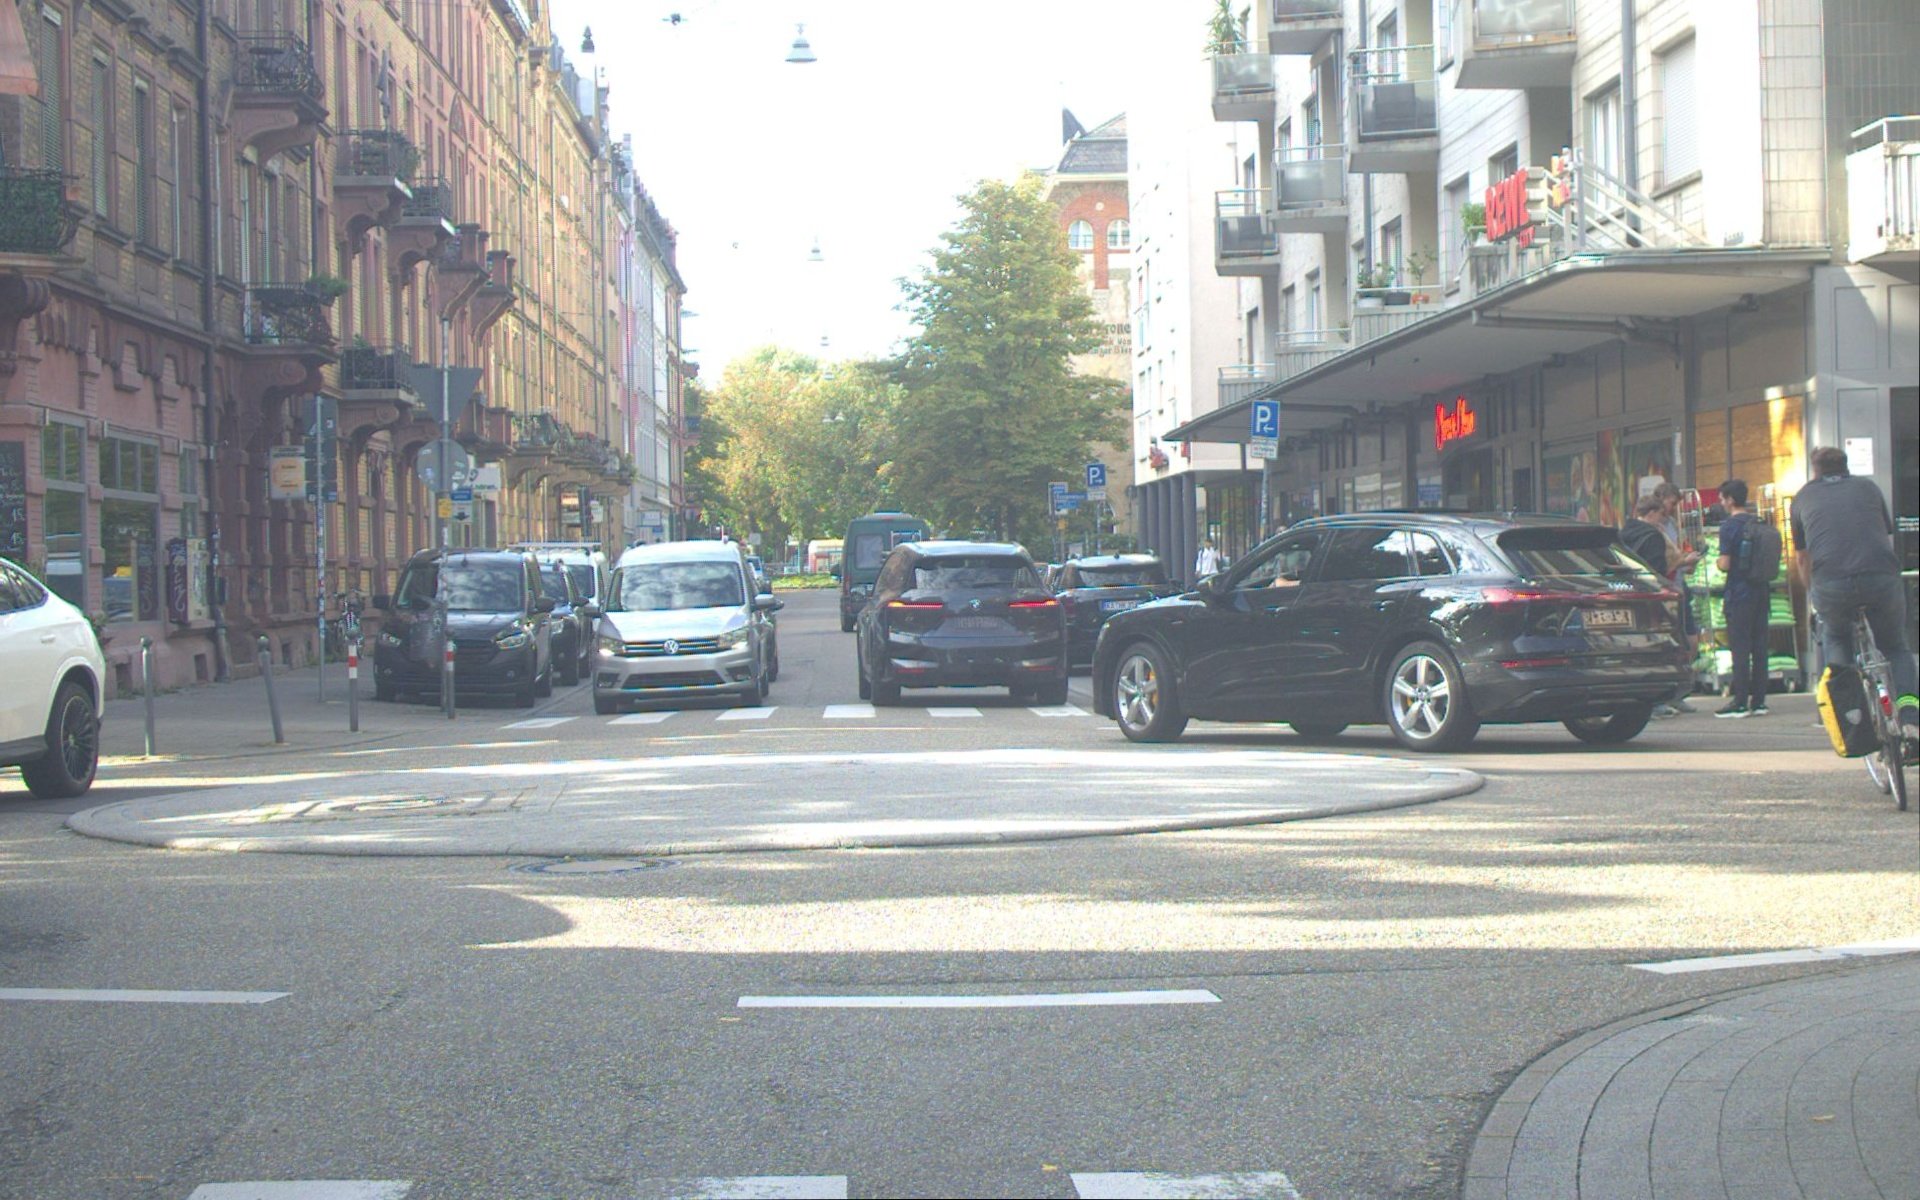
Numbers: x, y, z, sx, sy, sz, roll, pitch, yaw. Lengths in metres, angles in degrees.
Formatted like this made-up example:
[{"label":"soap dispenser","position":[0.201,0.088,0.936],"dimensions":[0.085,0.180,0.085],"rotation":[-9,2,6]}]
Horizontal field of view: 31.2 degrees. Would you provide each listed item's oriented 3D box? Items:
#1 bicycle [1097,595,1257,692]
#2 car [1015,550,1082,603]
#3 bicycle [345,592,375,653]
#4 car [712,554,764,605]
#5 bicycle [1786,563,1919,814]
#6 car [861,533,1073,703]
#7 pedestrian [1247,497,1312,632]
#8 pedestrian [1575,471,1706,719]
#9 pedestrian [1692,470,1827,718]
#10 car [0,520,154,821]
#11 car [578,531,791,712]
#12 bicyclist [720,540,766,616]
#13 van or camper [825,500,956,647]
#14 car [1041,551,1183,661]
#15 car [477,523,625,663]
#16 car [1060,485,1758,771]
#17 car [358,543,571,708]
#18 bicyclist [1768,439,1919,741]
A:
[{"label":"bicycle","position":[2.453,0.479,38.748],"dimensions":[1.785,1.023,0.681],"rotation":[-2,1,-39]},{"label":"car","position":[2.417,-0.650,94.620],"dimensions":[1.645,1.320,3.576],"rotation":[-4,1,0]},{"label":"bicycle","position":[-9.688,0.350,55.506],"dimensions":[0.360,0.944,1.716],"rotation":[0,1,-6]},{"label":"car","position":[-9.099,-0.869,141.138],"dimensions":[1.993,2.007,4.000],"rotation":[-1,1,-2]},{"label":"bicycle","position":[4.579,0.400,17.368],"dimensions":[0.666,1.174,2.495],"rotation":[0,1,16]},{"label":"car","position":[0.010,0.145,35.343],"dimensions":[1.993,1.612,4.000],"rotation":[-1,1,-2]},{"label":"pedestrian","position":[4.502,-0.501,48.373],"dimensions":[0.731,1.858,1.062],"rotation":[-1,1,13]},{"label":"pedestrian","position":[5.166,-0.042,26.133],"dimensions":[0.869,1.845,0.612],"rotation":[-1,1,4]},{"label":"pedestrian","position":[6.054,-0.048,26.059],"dimensions":[0.869,1.845,0.612],"rotation":[-1,1,4]},{"label":"car","position":[-6.649,0.481,20.241],"dimensions":[1.943,1.716,4.848],"rotation":[-2,2,9]},{"label":"car","position":[-2.934,0.185,37.555],"dimensions":[1.793,1.784,4.736],"rotation":[-2,1,1]},{"label":"bicyclist","position":[-5.758,-0.589,91.128],"dimensions":[1.132,1.991,1.028],"rotation":[1,0,-6]},{"label":"van or camper","position":[-1.538,-0.587,74.152],"dimensions":[2.531,3.027,4.459],"rotation":[-1,1,-4]},{"label":"car","position":[2.002,0.051,46.072],"dimensions":[1.645,1.320,3.576],"rotation":[-4,1,0]},{"label":"car","position":[-6.224,-0.131,52.664],"dimensions":[1.993,2.007,4.001],"rotation":[-2,1,-4]},{"label":"car","position":[3.015,0.144,24.129],"dimensions":[2.036,1.718,4.845],"rotation":[-4,3,-36]},{"label":"car","position":[-5.745,0.245,40.343],"dimensions":[1.782,1.718,4.445],"rotation":[0,2,1]},{"label":"bicyclist","position":[4.549,-0.054,17.223],"dimensions":[0.934,1.479,0.746],"rotation":[0,0,16]}]
